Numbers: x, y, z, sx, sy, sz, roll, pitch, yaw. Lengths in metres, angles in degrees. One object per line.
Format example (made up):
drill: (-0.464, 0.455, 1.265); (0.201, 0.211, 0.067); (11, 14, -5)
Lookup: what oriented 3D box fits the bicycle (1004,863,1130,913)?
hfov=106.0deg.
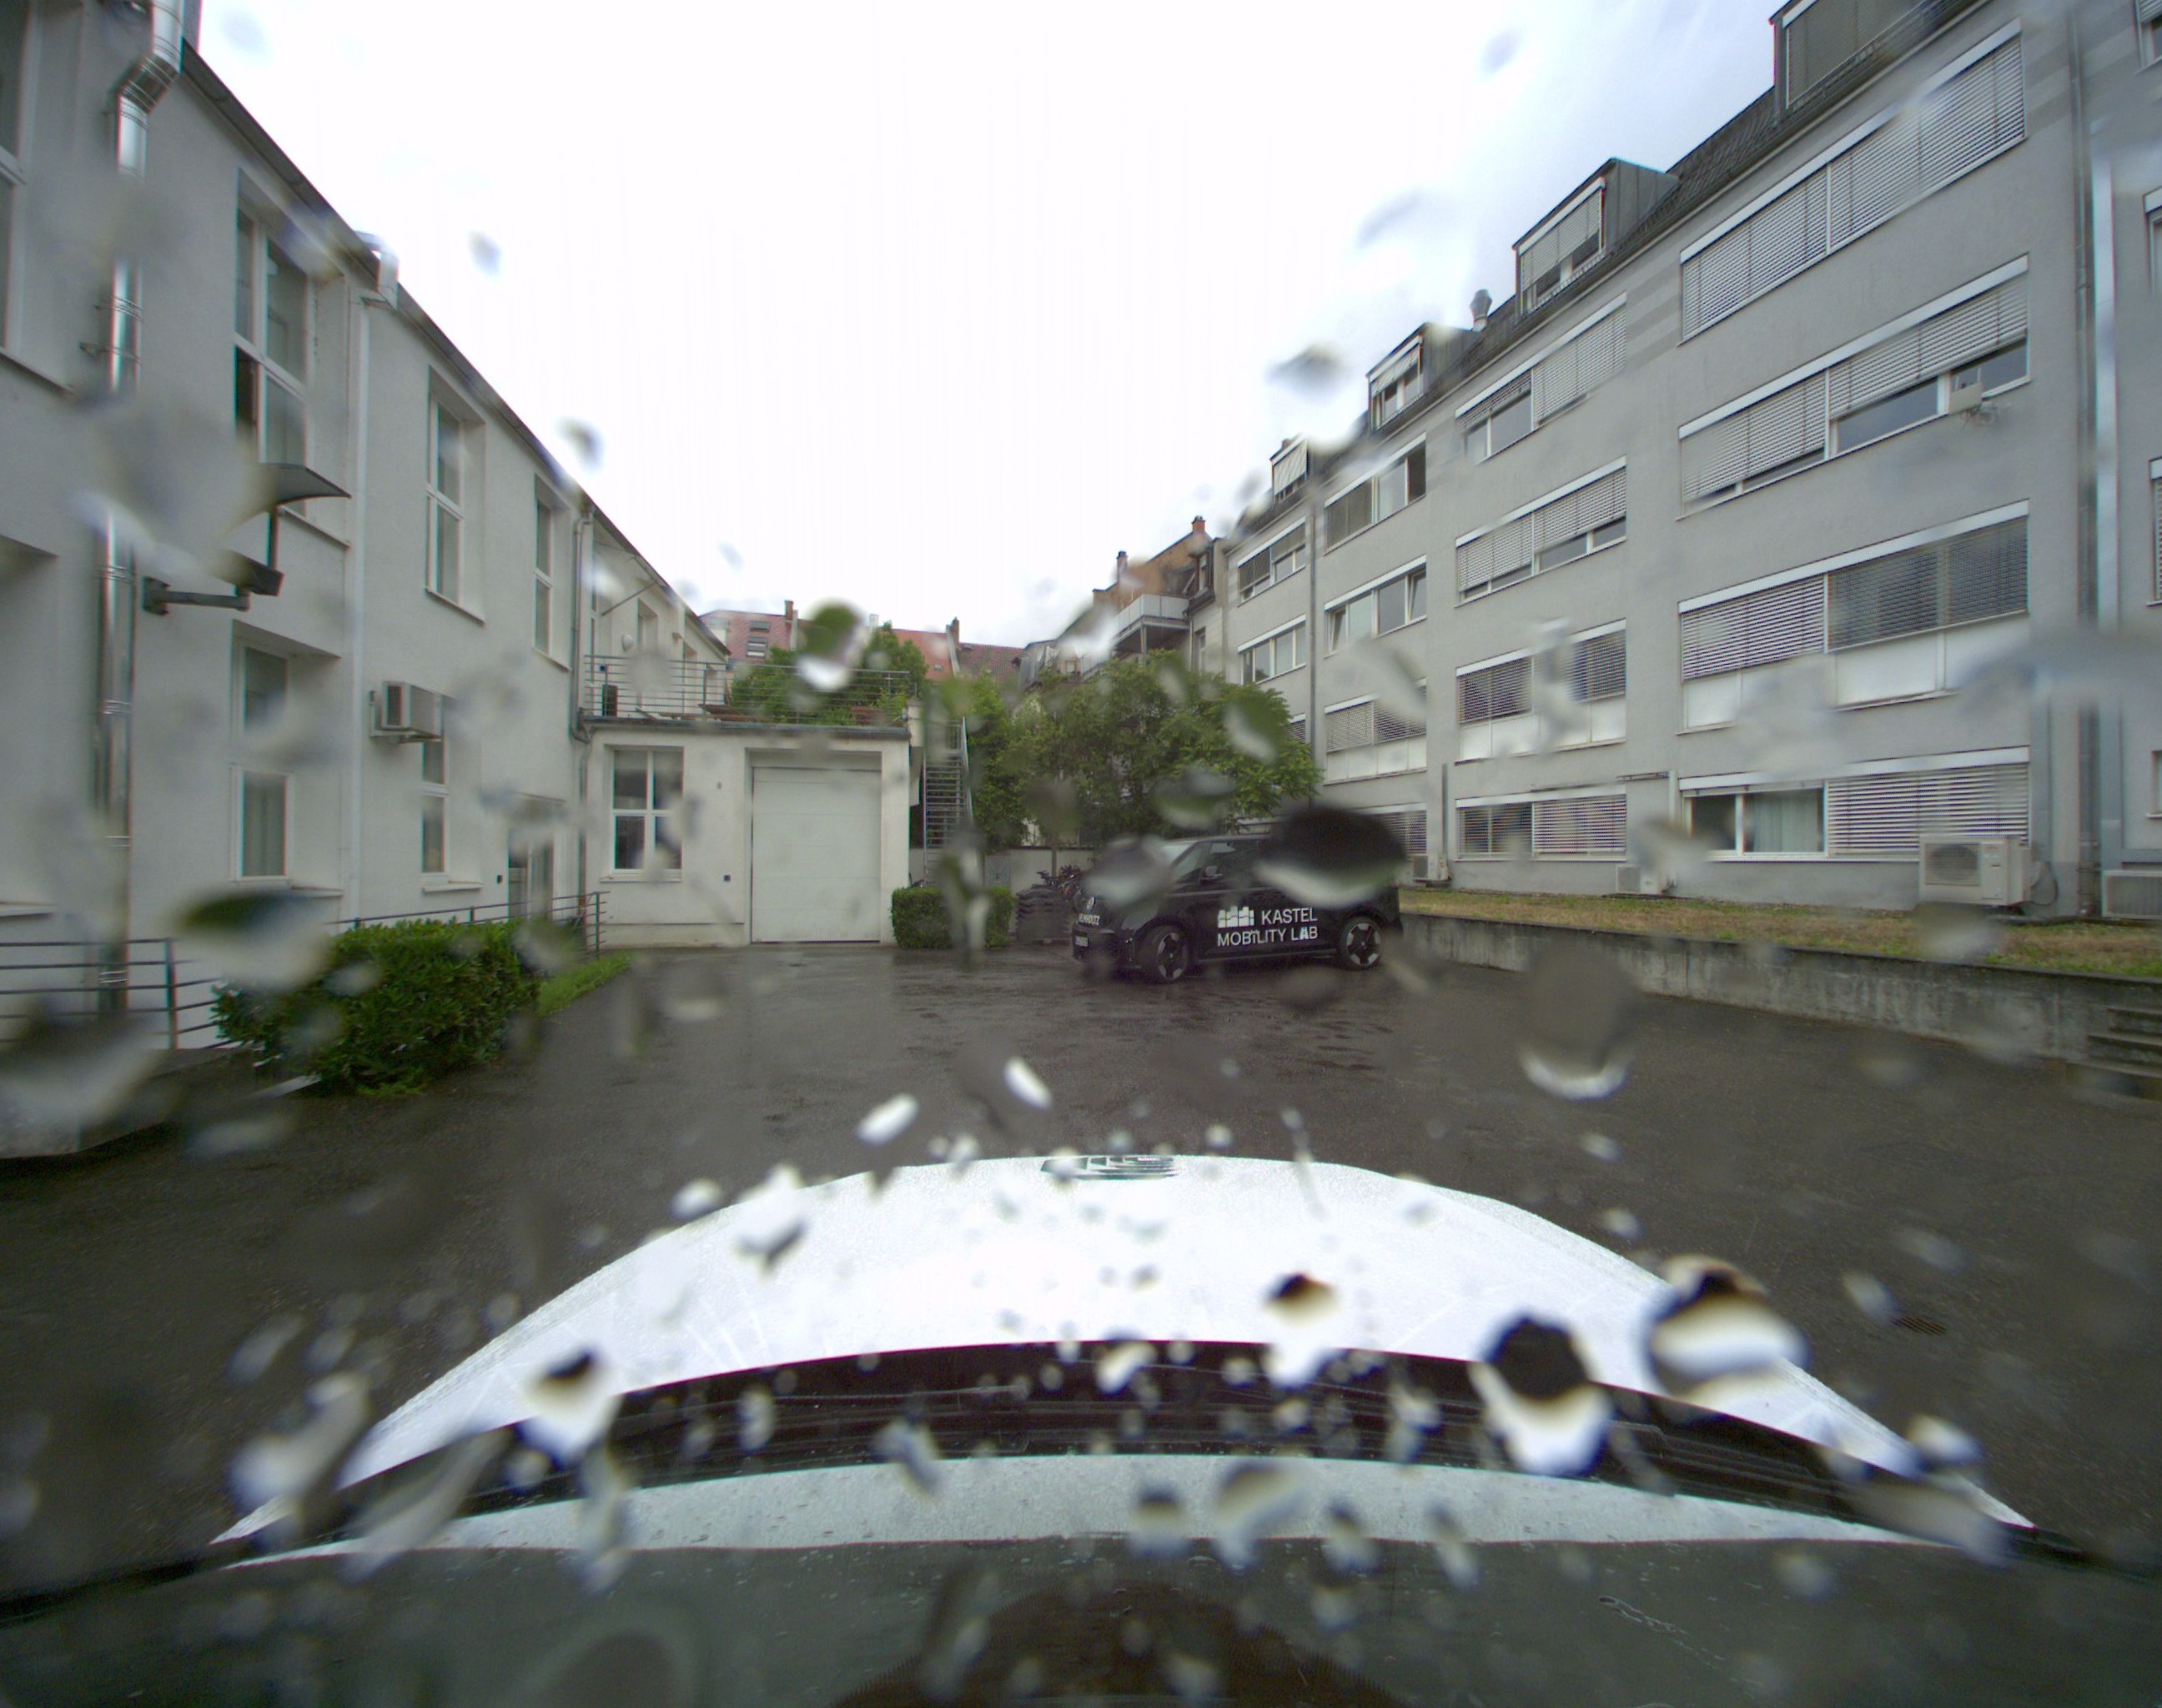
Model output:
bicycle: (-0.359, 0.866, 21.098); (3.220, 1.242, 0.628); (0, -1, -16)

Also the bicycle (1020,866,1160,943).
bicycle: (0.212, 1.132, 18.913); (3.220, 1.703, 0.627); (0, -1, -16)

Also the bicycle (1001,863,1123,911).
bicycle: (-0.497, 0.861, 21.734); (3.220, 1.242, 0.628); (0, -1, -16)

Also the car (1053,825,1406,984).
car: (2.065, 0.624, 11.504); (4.523, 1.897, 2.032); (0, -1, -21)

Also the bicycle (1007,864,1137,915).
bicycle: (-0.223, 0.871, 20.442); (3.220, 1.242, 0.628); (0, -1, -16)

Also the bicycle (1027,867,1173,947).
bicycle: (0.428, 1.139, 18.107); (3.220, 1.703, 0.627); (0, -1, -16)

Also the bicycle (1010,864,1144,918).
bicycle: (-0.088, 0.876, 19.757); (3.220, 1.242, 0.628); (0, -1, -16)
